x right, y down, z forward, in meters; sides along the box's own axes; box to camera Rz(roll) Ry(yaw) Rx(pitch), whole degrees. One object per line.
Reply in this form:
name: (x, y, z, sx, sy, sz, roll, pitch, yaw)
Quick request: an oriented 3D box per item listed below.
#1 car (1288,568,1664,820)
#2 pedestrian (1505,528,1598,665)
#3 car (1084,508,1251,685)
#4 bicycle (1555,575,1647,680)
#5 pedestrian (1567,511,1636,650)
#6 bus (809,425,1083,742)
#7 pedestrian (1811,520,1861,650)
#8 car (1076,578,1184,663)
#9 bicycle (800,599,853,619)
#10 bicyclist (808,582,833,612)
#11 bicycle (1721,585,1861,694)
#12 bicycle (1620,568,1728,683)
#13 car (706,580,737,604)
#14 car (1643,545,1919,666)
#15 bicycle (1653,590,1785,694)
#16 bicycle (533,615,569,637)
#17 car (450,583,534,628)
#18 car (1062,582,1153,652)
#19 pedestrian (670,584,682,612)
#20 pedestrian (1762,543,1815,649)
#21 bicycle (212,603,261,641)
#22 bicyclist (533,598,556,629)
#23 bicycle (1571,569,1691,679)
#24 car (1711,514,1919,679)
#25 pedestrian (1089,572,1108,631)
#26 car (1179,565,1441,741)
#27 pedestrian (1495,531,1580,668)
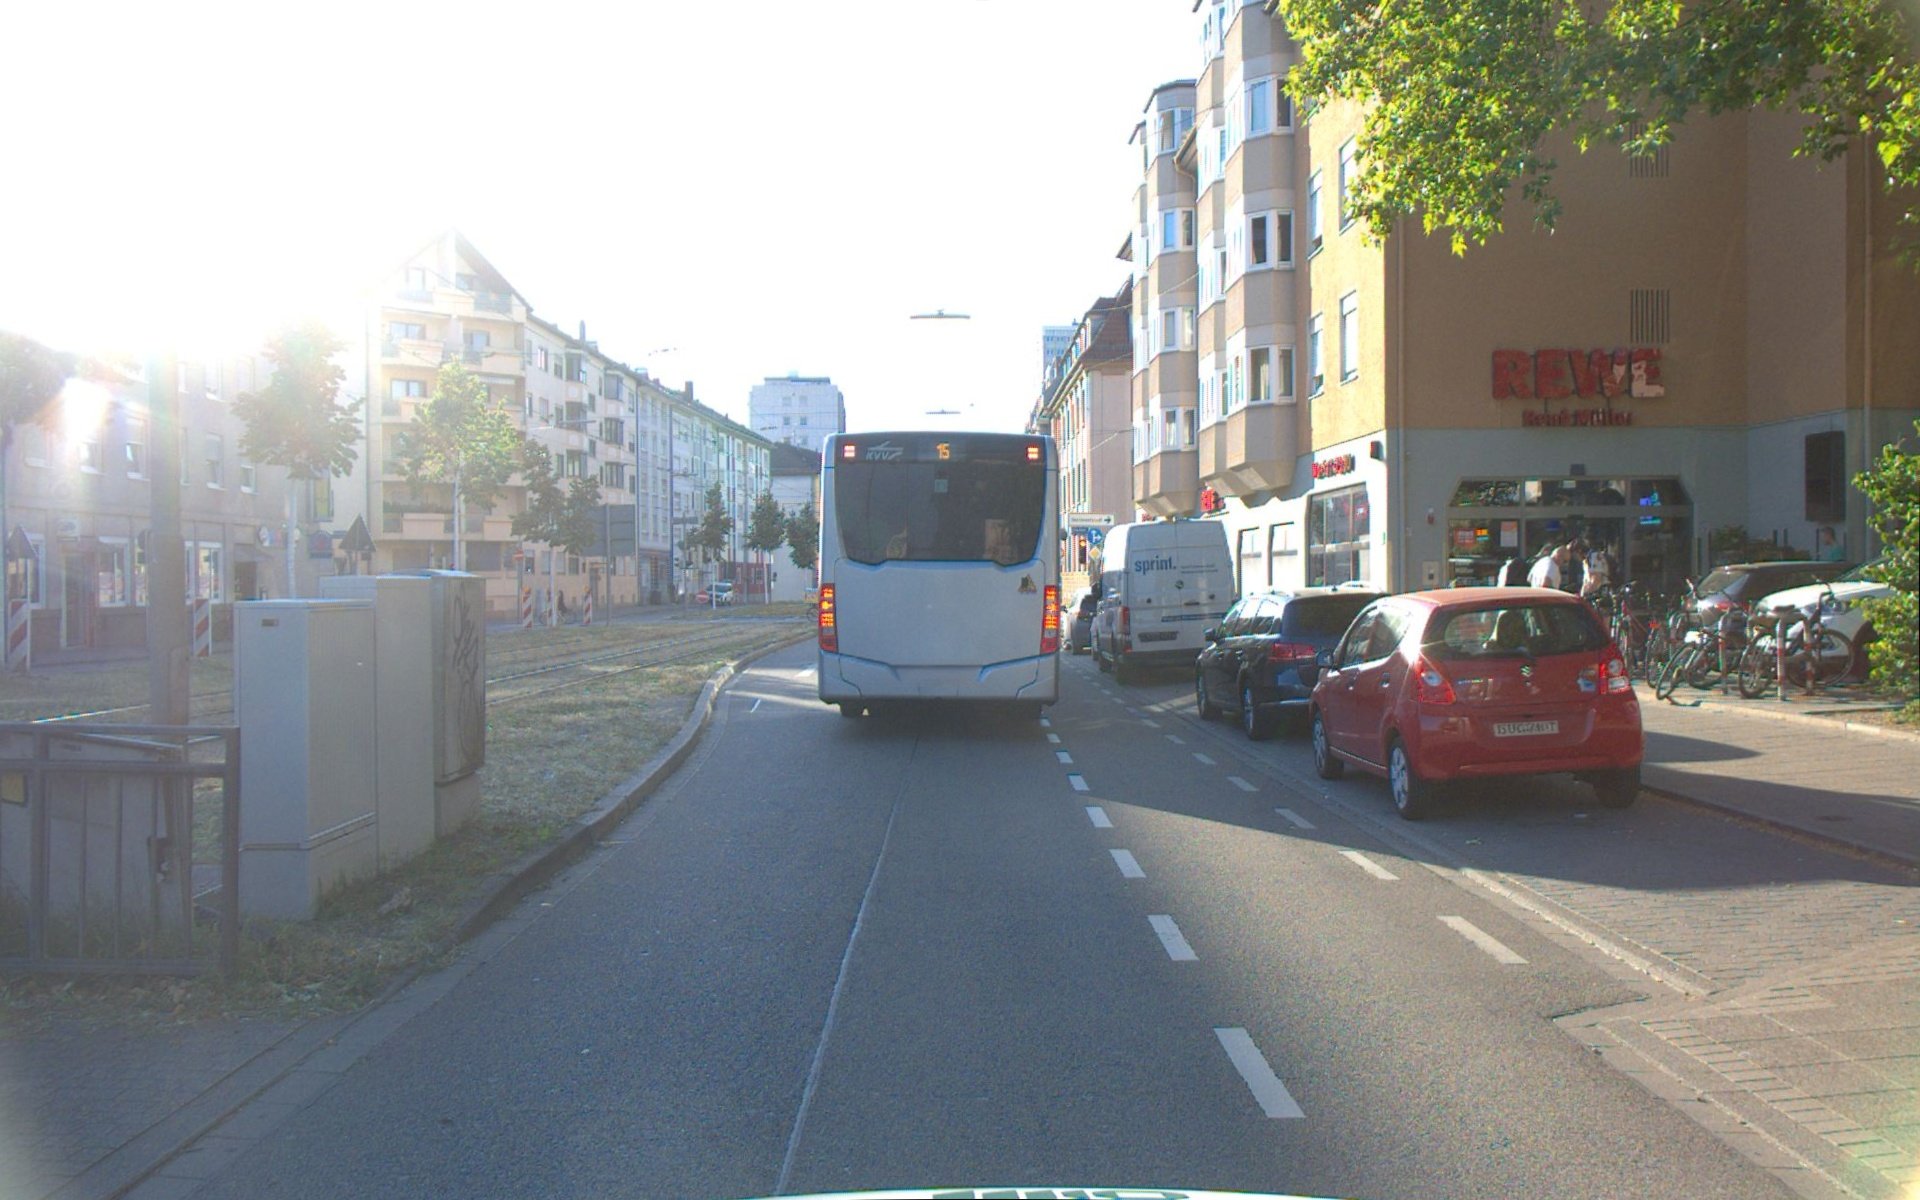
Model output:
car: (3.635, 0.582, 12.304, 1.538, 1.520, 3.625, -3, 0, -1)
pedestrian: (7.524, -0.055, 21.062, 0.647, 1.664, 0.989, -4, 1, -8)
car: (3.443, -0.076, 28.595, 1.976, 2.595, 5.784, -4, 0, 0)
bicycle: (7.996, 0.324, 20.616, 1.507, 1.248, 0.397, -1, 0, -41)
pedestrian: (8.631, -0.262, 22.263, 0.518, 1.812, 0.649, -4, 1, -8)
bus: (-0.142, -0.196, 20.837, 2.682, 3.109, 8.853, 1, 0, 0)
pedestrian: (13.102, -0.219, 24.728, 0.570, 1.914, 0.467, -1, 0, -41)
car: (3.422, 0.383, 33.867, 1.801, 1.615, 3.785, -1, 0, 0)
bicycle: (-5.323, 0.361, 65.994, 2.026, 0.745, 0.760, -1, 0, -11)
bicyclist: (-5.565, -0.111, 65.938, 0.915, 1.181, 0.642, -1, 0, -11)
bicycle: (8.484, 0.379, 16.864, 1.663, 1.031, 0.642, -1, 0, -39)
bicycle: (8.116, 0.267, 18.761, 0.636, 1.248, 1.573, -1, 0, 42)
car: (-19.259, -0.642, 133.676, 1.774, 1.829, 4.245, -1, 0, 1)
car: (11.352, 0.091, 21.698, 3.933, 1.457, 1.999, -1, -3, -1)
bicycle: (8.061, 0.428, 17.543, 1.567, 1.031, 0.642, -1, 0, -39)
bicycle: (-19.769, 1.269, 79.964, 0.518, 1.001, 1.879, -1, 0, 30)
car: (-17.935, 0.174, 63.599, 1.775, 1.587, 4.935, -2, 1, 0)
car: (3.501, 0.372, 39.812, 1.801, 1.563, 4.230, -1, 0, 0)
pedestrian: (-21.035, -0.184, 122.477, 0.771, 2.049, 0.890, -1, 0, -3)
pedestrian: (12.567, -0.066, 25.087, 0.630, 1.595, 0.417, -1, 0, -31)
bicycle: (-22.614, 0.678, 51.725, 0.731, 1.134, 1.778, -1, 0, 0)
bicyclist: (-19.999, 0.628, 79.560, 0.518, 1.472, 0.963, -1, 0, 30)
bicycle: (8.055, 0.268, 19.825, 1.567, 1.248, 0.642, -1, 0, -39)
car: (11.306, 0.014, 18.885, 4.524, 1.738, 2.000, 2, 0, -2)
pedestrian: (4.312, 0.055, 51.421, 0.535, 1.815, 0.449, -1, 0, 0)
car: (3.616, 0.488, 17.942, 1.663, 1.557, 4.651, -3, 0, -2)
pedestrian: (7.863, -0.018, 22.556, 0.790, 1.782, 0.768, -4, 1, 0)
